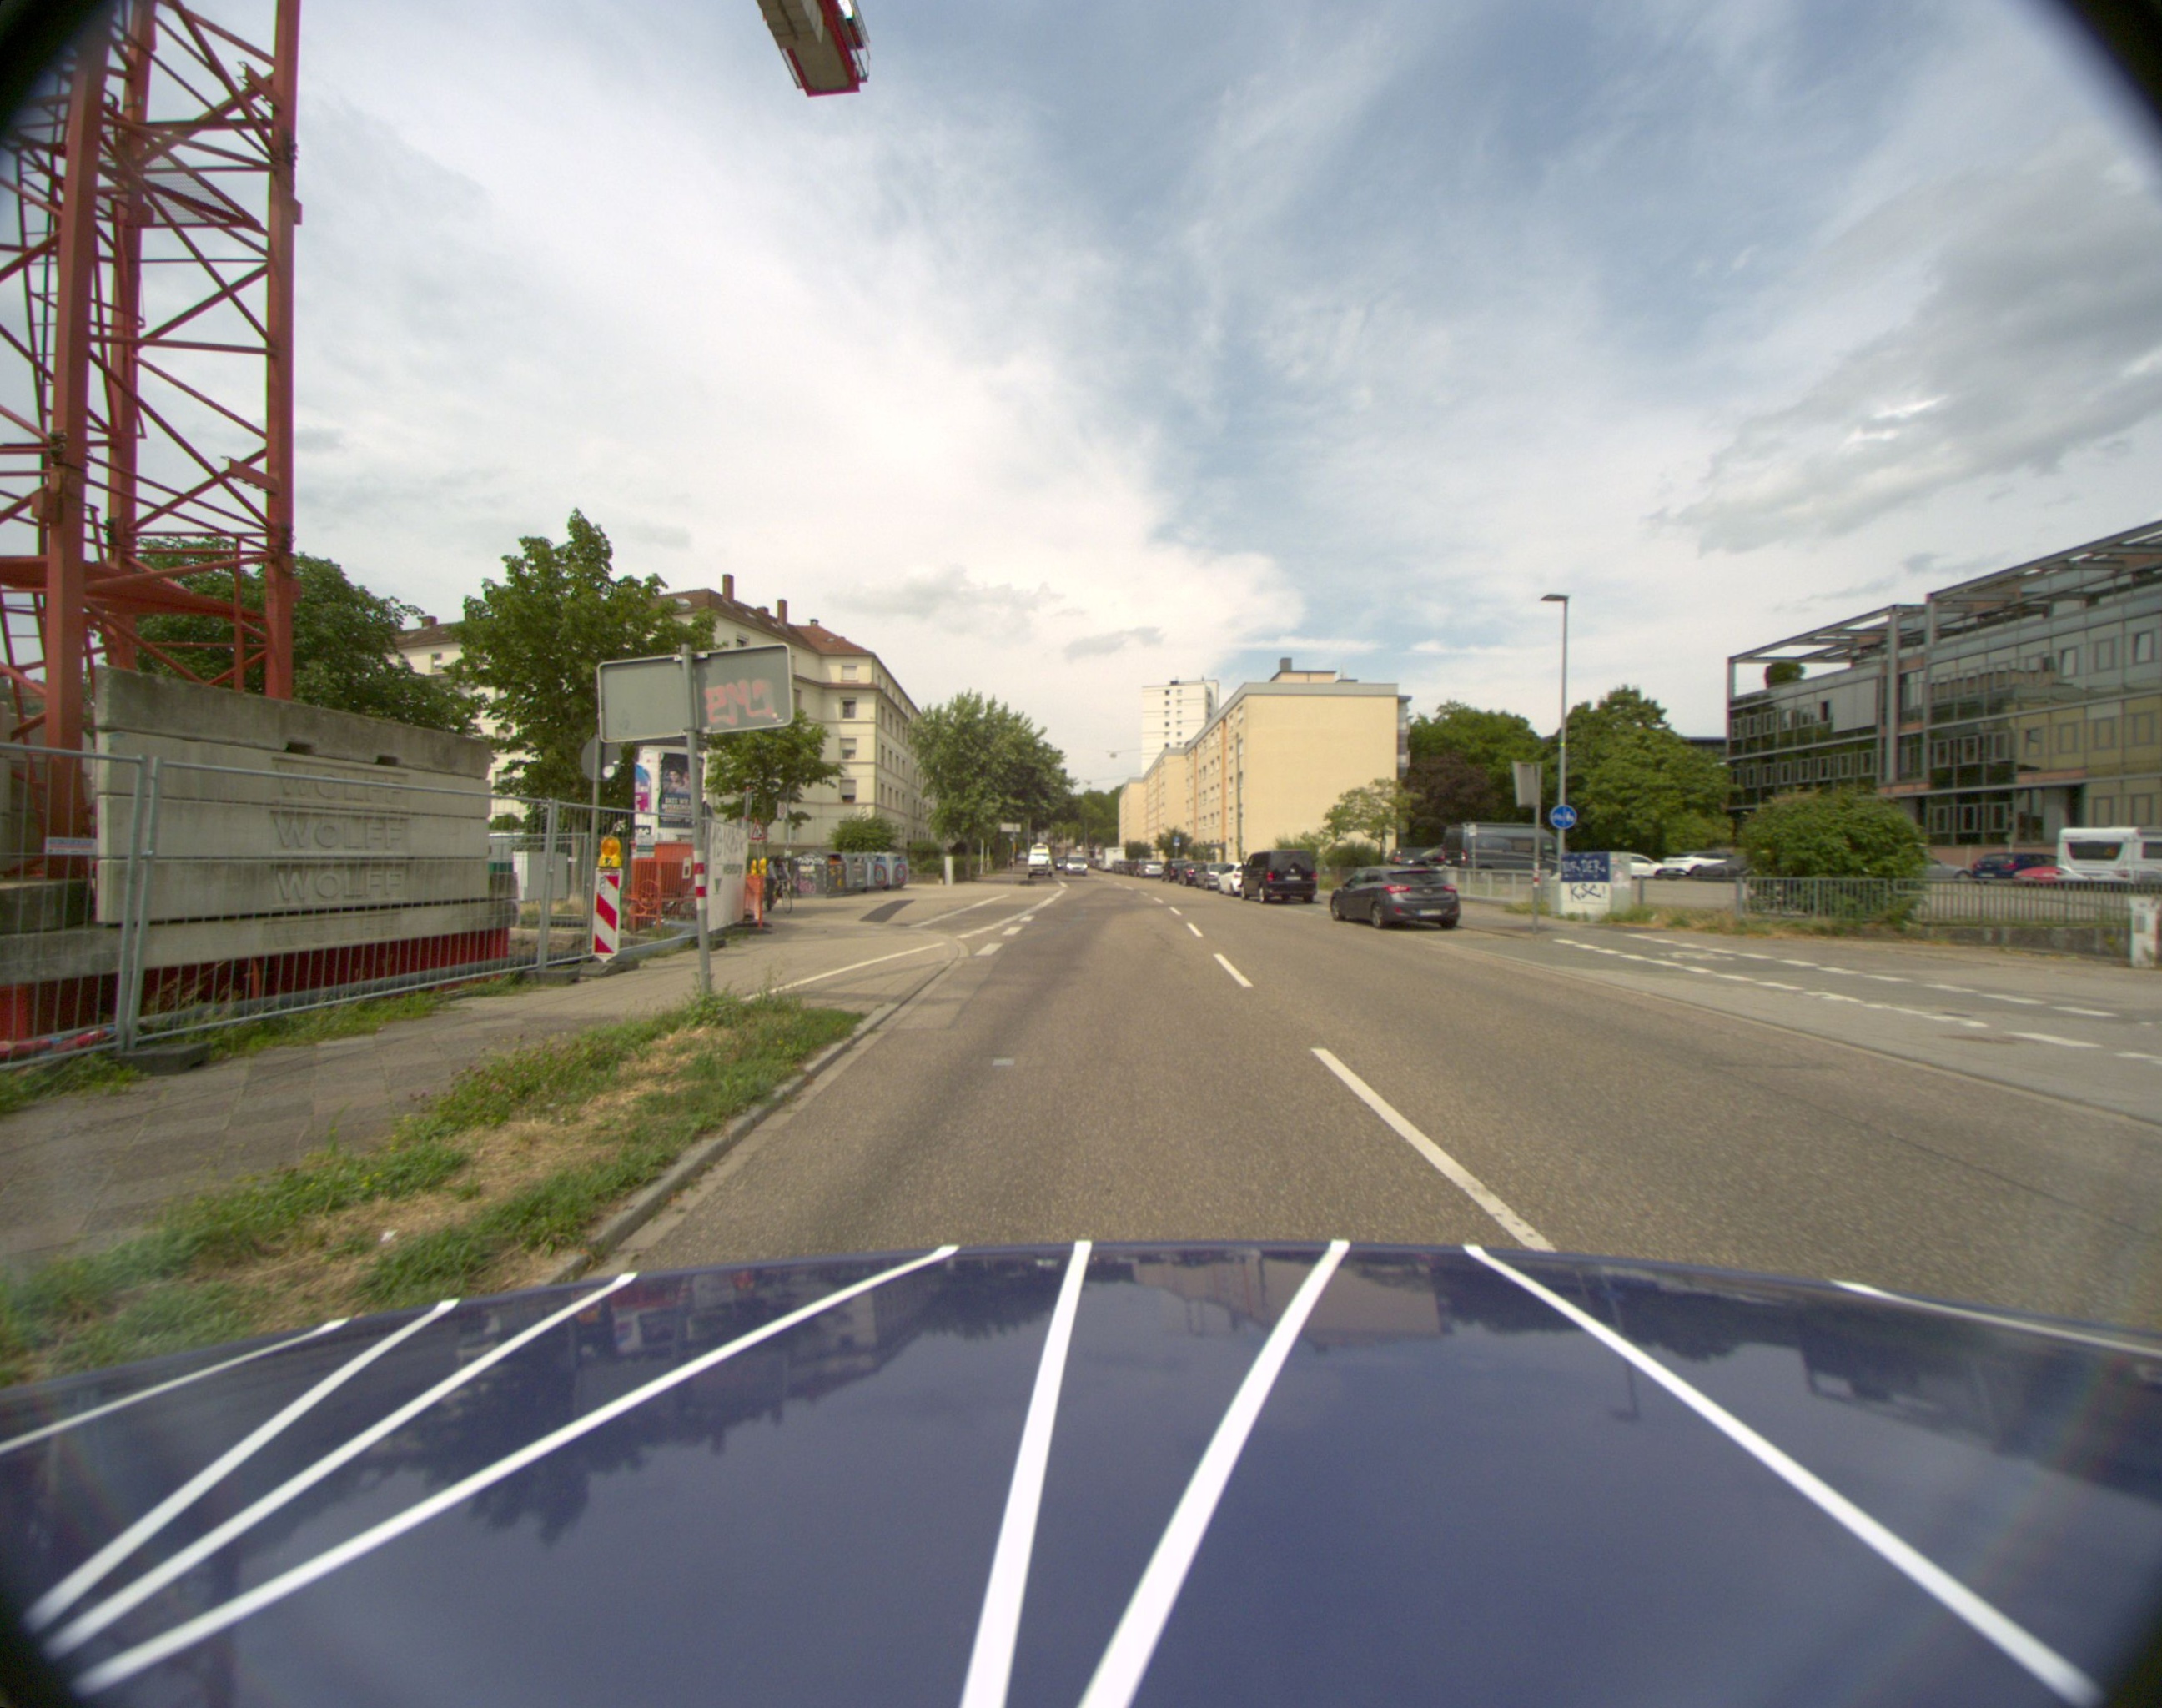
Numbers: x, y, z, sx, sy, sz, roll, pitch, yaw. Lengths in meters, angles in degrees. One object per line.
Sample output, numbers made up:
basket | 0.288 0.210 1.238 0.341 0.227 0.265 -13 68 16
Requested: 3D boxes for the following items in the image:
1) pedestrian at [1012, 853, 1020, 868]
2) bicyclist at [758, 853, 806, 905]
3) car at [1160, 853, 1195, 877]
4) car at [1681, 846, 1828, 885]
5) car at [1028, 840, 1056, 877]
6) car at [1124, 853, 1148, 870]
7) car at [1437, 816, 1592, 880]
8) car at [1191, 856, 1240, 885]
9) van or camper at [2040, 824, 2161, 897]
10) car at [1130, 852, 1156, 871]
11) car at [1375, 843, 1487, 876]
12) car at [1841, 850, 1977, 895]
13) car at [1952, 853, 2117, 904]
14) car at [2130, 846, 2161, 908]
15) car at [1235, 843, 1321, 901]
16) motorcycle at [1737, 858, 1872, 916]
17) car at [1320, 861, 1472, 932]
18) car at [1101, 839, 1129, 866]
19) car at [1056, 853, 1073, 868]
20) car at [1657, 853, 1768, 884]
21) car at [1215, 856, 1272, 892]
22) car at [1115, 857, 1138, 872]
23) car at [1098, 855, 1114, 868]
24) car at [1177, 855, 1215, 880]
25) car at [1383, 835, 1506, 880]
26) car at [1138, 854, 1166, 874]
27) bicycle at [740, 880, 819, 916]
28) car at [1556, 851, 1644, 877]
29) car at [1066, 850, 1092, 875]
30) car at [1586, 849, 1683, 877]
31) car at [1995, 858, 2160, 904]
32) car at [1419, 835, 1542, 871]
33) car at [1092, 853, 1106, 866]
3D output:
pedestrian | -7.792 0.795 90.974 0.808 1.793 0.763 2 1 -3
bicyclist | -8.271 0.699 21.007 1.078 1.404 0.716 -2 -2 32
car | 6.493 0.707 51.600 1.627 1.565 3.998 0 0 -4
car | 31.201 0.515 35.343 4.703 1.654 2.331 2 0 2
car | -2.985 0.308 58.277 1.900 2.587 4.903 -2 1 -3
car | 5.228 0.696 72.917 1.682 1.495 4.262 0 0 -5
car | 18.644 -0.265 32.928 5.324 2.537 2.355 -2 0 2
car | 7.063 0.822 40.202 1.692 1.448 4.262 0 0 -2
van or camper | 41.324 0.277 29.442 5.061 2.687 2.581 1 1 -1
car | 5.556 0.639 68.134 1.722 1.615 3.838 0 0 -4
car | 18.778 0.303 40.944 5.097 1.663 2.001 1 0 3
car | 42.412 0.940 39.015 4.371 2.124 2.205 2 0 4
car | 42.722 1.064 34.148 4.371 2.124 2.205 2 0 4
car | 29.590 0.635 18.587 1.969 1.646 4.234 0 1 -1
car | 7.389 0.637 29.069 1.954 1.992 4.843 -1 0 -1
motorcycle | 15.608 0.694 16.438 2.095 1.135 0.725 2 1 4
car | 7.564 0.945 18.758 1.827 1.464 4.296 -2 0 -2
car | 4.076 -0.134 91.806 2.622 3.040 7.112 2 0 -3
car | -2.030 0.818 91.996 1.999 1.656 3.998 2 0 -3
car | 31.428 0.708 37.876 4.166 1.474 1.616 0 1 0
car | 7.318 0.882 34.493 1.658 1.520 3.764 -1 0 -2
car | 4.740 1.092 79.365 1.723 1.498 4.623 1 0 -5
car | 3.406 1.013 103.843 1.853 1.623 4.217 2 0 -3
car | 6.895 0.795 46.023 1.691 1.462 4.048 0 0 0
car | 18.274 0.178 38.378 5.097 2.137 2.229 1 0 3
car | 5.789 0.825 62.373 1.791 1.554 4.550 -2 0 -1
bicycle | -8.399 1.193 21.093 2.472 0.927 0.716 0 -1 32
car | 30.959 0.595 45.406 3.997 1.474 1.857 0 1 0
car | -0.224 0.722 65.096 1.999 2.002 3.998 2 1 -3
car | 31.119 0.480 42.814 3.997 1.474 1.970 0 1 0
car | 41.986 1.101 32.106 4.371 1.773 1.727 2 0 4
car | 18.621 -0.043 35.592 4.707 1.608 2.001 1 0 2
car | 2.727 0.860 115.843 1.724 1.787 3.893 2 1 -3
